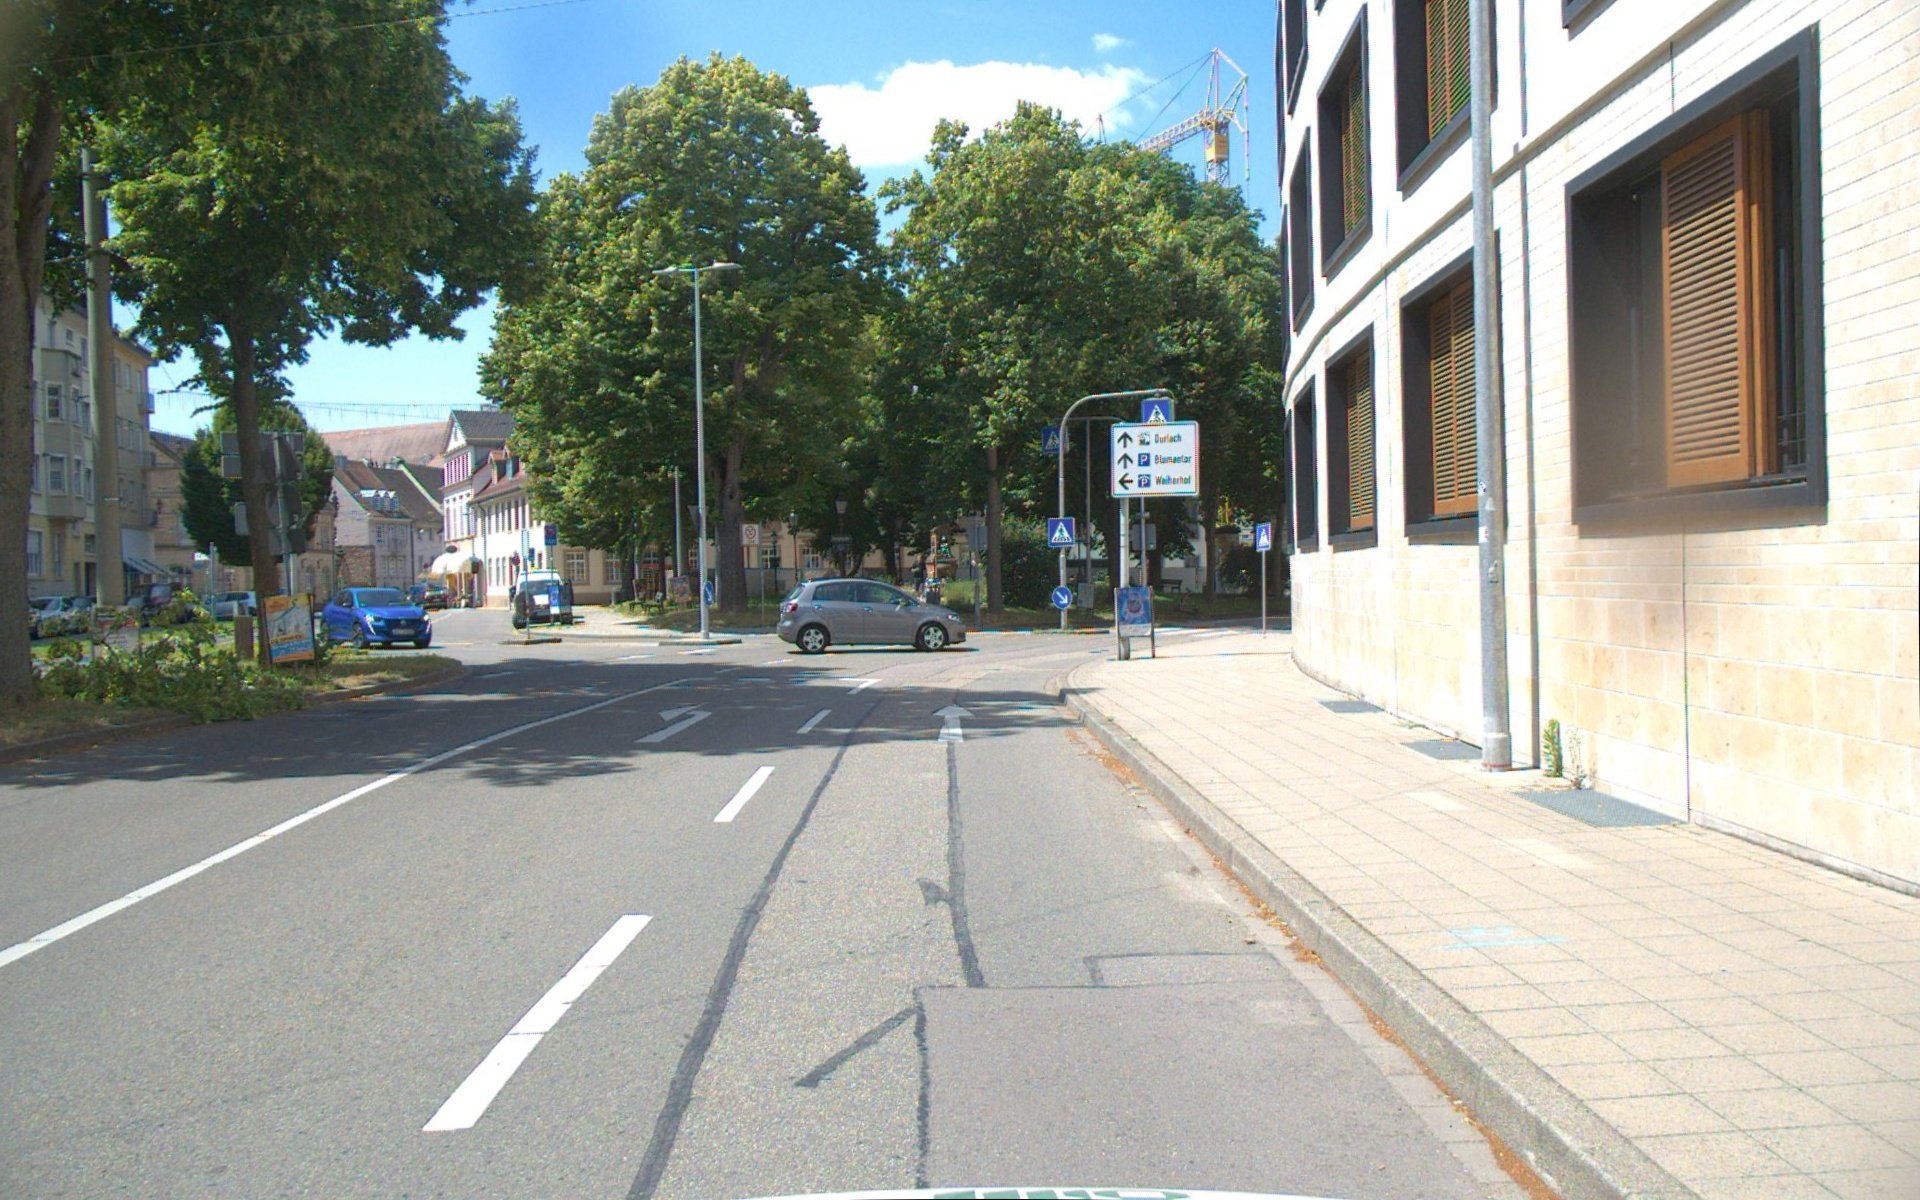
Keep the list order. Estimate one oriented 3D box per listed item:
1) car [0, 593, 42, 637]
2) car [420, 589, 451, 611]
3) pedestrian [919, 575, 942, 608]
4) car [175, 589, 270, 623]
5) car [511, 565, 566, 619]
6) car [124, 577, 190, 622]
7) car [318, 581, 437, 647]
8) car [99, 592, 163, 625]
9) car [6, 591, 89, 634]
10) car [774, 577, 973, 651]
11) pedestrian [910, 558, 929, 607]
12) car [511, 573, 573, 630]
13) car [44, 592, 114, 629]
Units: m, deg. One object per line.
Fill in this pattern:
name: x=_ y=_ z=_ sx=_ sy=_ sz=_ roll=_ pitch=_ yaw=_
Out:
car: x=-31.356 y=0.495 z=53.828 sx=1.658 sy=1.383 sz=3.842 roll=-3 pitch=1 yaw=-15
car: x=-37.390 y=-0.025 z=117.817 sx=1.834 sy=1.512 sz=3.974 roll=0 pitch=0 yaw=-21
pedestrian: x=-1.176 y=-0.343 z=66.066 sx=0.887 sy=1.273 sz=1.148 roll=0 pitch=2 yaw=0
car: x=-37.249 y=0.289 z=83.606 sx=4.140 sy=1.531 sz=1.993 roll=-3 pitch=1 yaw=-20
car: x=-16.443 y=-0.335 z=64.691 sx=2.014 sy=2.037 sz=5.230 roll=0 pitch=1 yaw=-14
car: x=-37.596 y=-0.049 z=77.528 sx=1.823 sy=1.944 sz=4.752 roll=-3 pitch=1 yaw=-15
car: x=-14.411 y=0.306 z=40.822 sx=1.794 sy=1.518 sz=3.951 roll=-1 pitch=1 yaw=-35
car: x=-36.387 y=0.340 z=72.654 sx=1.614 sy=1.300 sz=4.247 roll=-3 pitch=1 yaw=-15
car: x=-32.690 y=0.419 z=59.325 sx=1.658 sy=1.414 sz=3.842 roll=-3 pitch=1 yaw=-15
car: x=-1.917 y=0.297 z=35.908 sx=4.151 sy=1.560 sz=1.906 roll=0 pitch=0 yaw=-9
pedestrian: x=-1.629 y=-0.721 z=66.861 sx=0.732 sy=1.944 sz=0.684 roll=0 pitch=2 yaw=0
car: x=-14.210 y=0.018 z=56.125 sx=1.961 sy=1.858 sz=4.404 roll=0 pitch=1 yaw=-15
car: x=-34.044 y=0.393 z=63.980 sx=1.659 sy=1.300 sz=3.275 roll=-3 pitch=1 yaw=-15
